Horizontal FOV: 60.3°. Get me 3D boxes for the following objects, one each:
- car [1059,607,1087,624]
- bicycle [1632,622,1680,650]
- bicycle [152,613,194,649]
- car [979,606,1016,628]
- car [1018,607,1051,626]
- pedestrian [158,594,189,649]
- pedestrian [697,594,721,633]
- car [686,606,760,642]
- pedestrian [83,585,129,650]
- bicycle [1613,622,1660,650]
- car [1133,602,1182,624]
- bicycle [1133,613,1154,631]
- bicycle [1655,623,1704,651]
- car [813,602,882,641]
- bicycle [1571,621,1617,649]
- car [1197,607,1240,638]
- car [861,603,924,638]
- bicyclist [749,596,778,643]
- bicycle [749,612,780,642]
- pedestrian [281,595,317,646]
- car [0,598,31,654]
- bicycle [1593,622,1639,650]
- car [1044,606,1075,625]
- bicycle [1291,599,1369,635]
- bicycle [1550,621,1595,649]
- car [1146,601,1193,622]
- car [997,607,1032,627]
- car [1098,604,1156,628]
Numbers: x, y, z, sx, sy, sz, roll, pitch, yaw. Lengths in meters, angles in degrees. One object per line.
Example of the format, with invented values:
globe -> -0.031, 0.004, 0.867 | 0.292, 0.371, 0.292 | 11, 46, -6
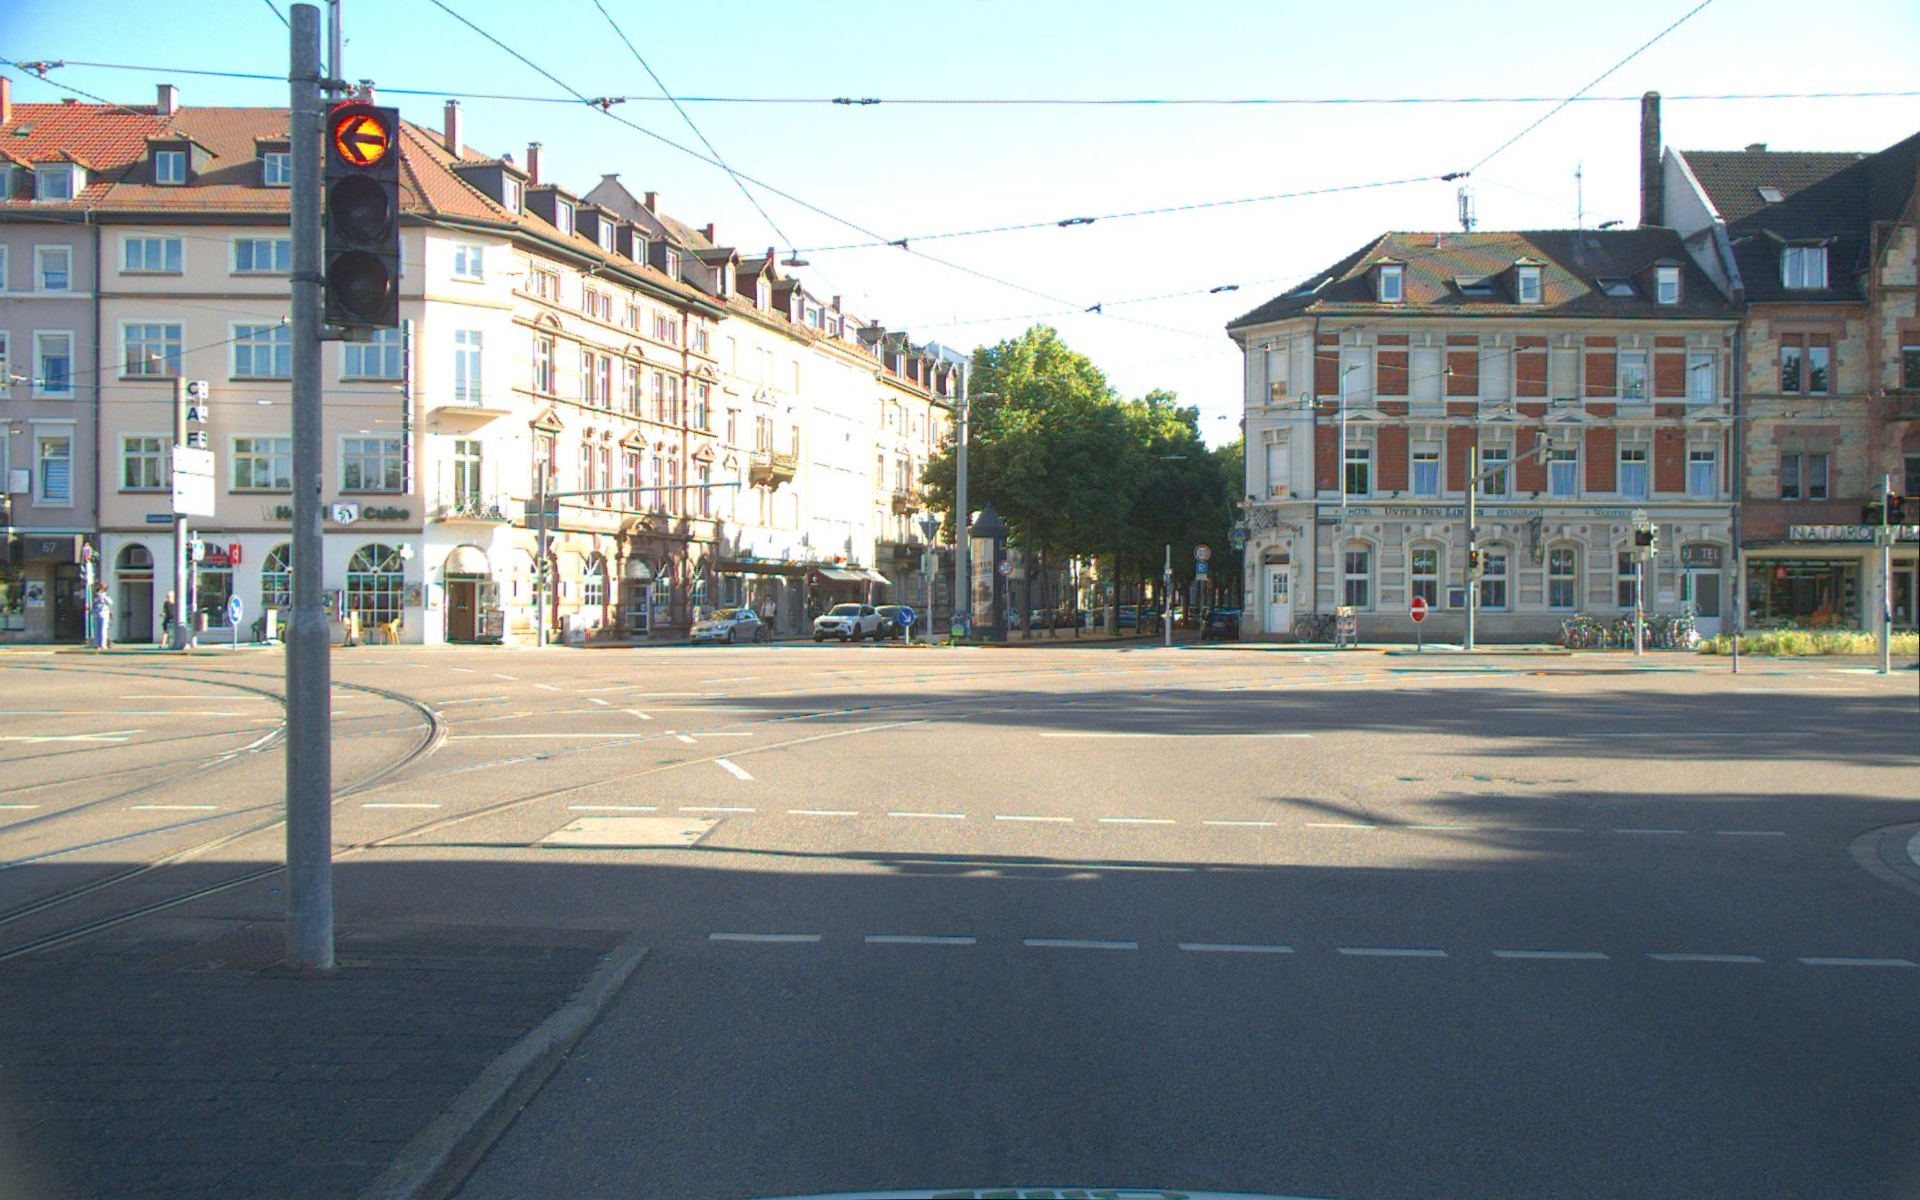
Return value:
car -> 9.307, 1.252, 135.897 | 1.642, 1.378, 3.593 | 0, 0, 16
bicycle -> 22.487, 1.165, 53.484 | 0.645, 0.855, 2.160 | 1, 0, 0
bicycle -> -24.664, 0.964, 51.852 | 0.561, 1.096, 1.497 | 1, 0, -1
car -> 2.556, 1.139, 111.341 | 1.642, 1.378, 3.593 | 0, 0, 16
car -> 5.524, 1.226, 122.503 | 1.642, 1.378, 3.593 | 0, 0, 16
pedestrian -> -24.661, 0.663, 51.877 | 0.570, 1.699, 0.752 | 1, -1, -1
pedestrian -> -11.053, 0.587, 72.941 | 0.759, 1.699, 0.831 | 1, -1, 15
car -> -9.545, 0.931, 66.745 | 1.642, 1.378, 3.593 | 0, 0, 16
pedestrian -> -21.364, 0.437, 41.394 | 0.539, 1.605, 0.832 | 1, -1, 27
bicycle -> 21.859, 1.154, 53.505 | 0.645, 0.855, 2.160 | 1, 0, 0
car -> 15.310, 0.963, 128.249 | 3.503, 1.677, 1.684 | 0, 0, 16
bicycle -> 11.044, 1.299, 99.629 | 0.625, 1.039, 1.840 | 1, 0, -14
bicycle -> 23.275, 1.179, 53.530 | 0.645, 0.855, 2.160 | 1, 0, 0
car -> -4.540, 0.843, 67.227 | 1.642, 1.509, 3.774 | 0, 0, 16
bicycle -> 20.476, 1.130, 53.458 | 0.645, 0.855, 2.160 | 1, 0, 0
car -> 12.952, 1.111, 82.751 | 1.642, 1.509, 3.950 | 0, 0, 16
car -> -2.954, 0.887, 73.552 | 1.642, 1.509, 3.950 | 0, 0, 16
bicyclist -> -7.719, 0.765, 65.005 | 0.761, 1.834, 1.056 | 1, -1, 13
bicycle -> -7.686, 1.046, 65.127 | 0.687, 1.137, 1.636 | 1, 0, 13
pedestrian -> -20.848, 0.644, 52.163 | 0.715, 1.605, 0.828 | 0, -1, 43
car -> -32.156, 0.781, 52.255 | 4.276, 1.741, 2.306 | 1, 0, 1
bicycle -> 21.188, 1.142, 53.471 | 0.645, 0.855, 2.160 | 1, 0, 0
car -> 7.882, 1.215, 130.845 | 1.642, 1.378, 3.593 | 0, 0, 16
bicycle -> 12.862, 0.595, 57.459 | 2.504, 1.194, 0.818 | 1, -1, -4
bicycle -> 19.757, 1.117, 53.370 | 0.645, 0.855, 2.160 | 1, 0, 0
car -> 16.931, 0.889, 133.749 | 3.503, 1.677, 1.684 | 0, 0, 16
car -> 3.813, 1.158, 115.516 | 1.642, 1.378, 3.593 | 0, 0, 16
car -> 11.705, 1.119, 115.836 | 3.819, 1.677, 1.684 | 0, 0, 16
